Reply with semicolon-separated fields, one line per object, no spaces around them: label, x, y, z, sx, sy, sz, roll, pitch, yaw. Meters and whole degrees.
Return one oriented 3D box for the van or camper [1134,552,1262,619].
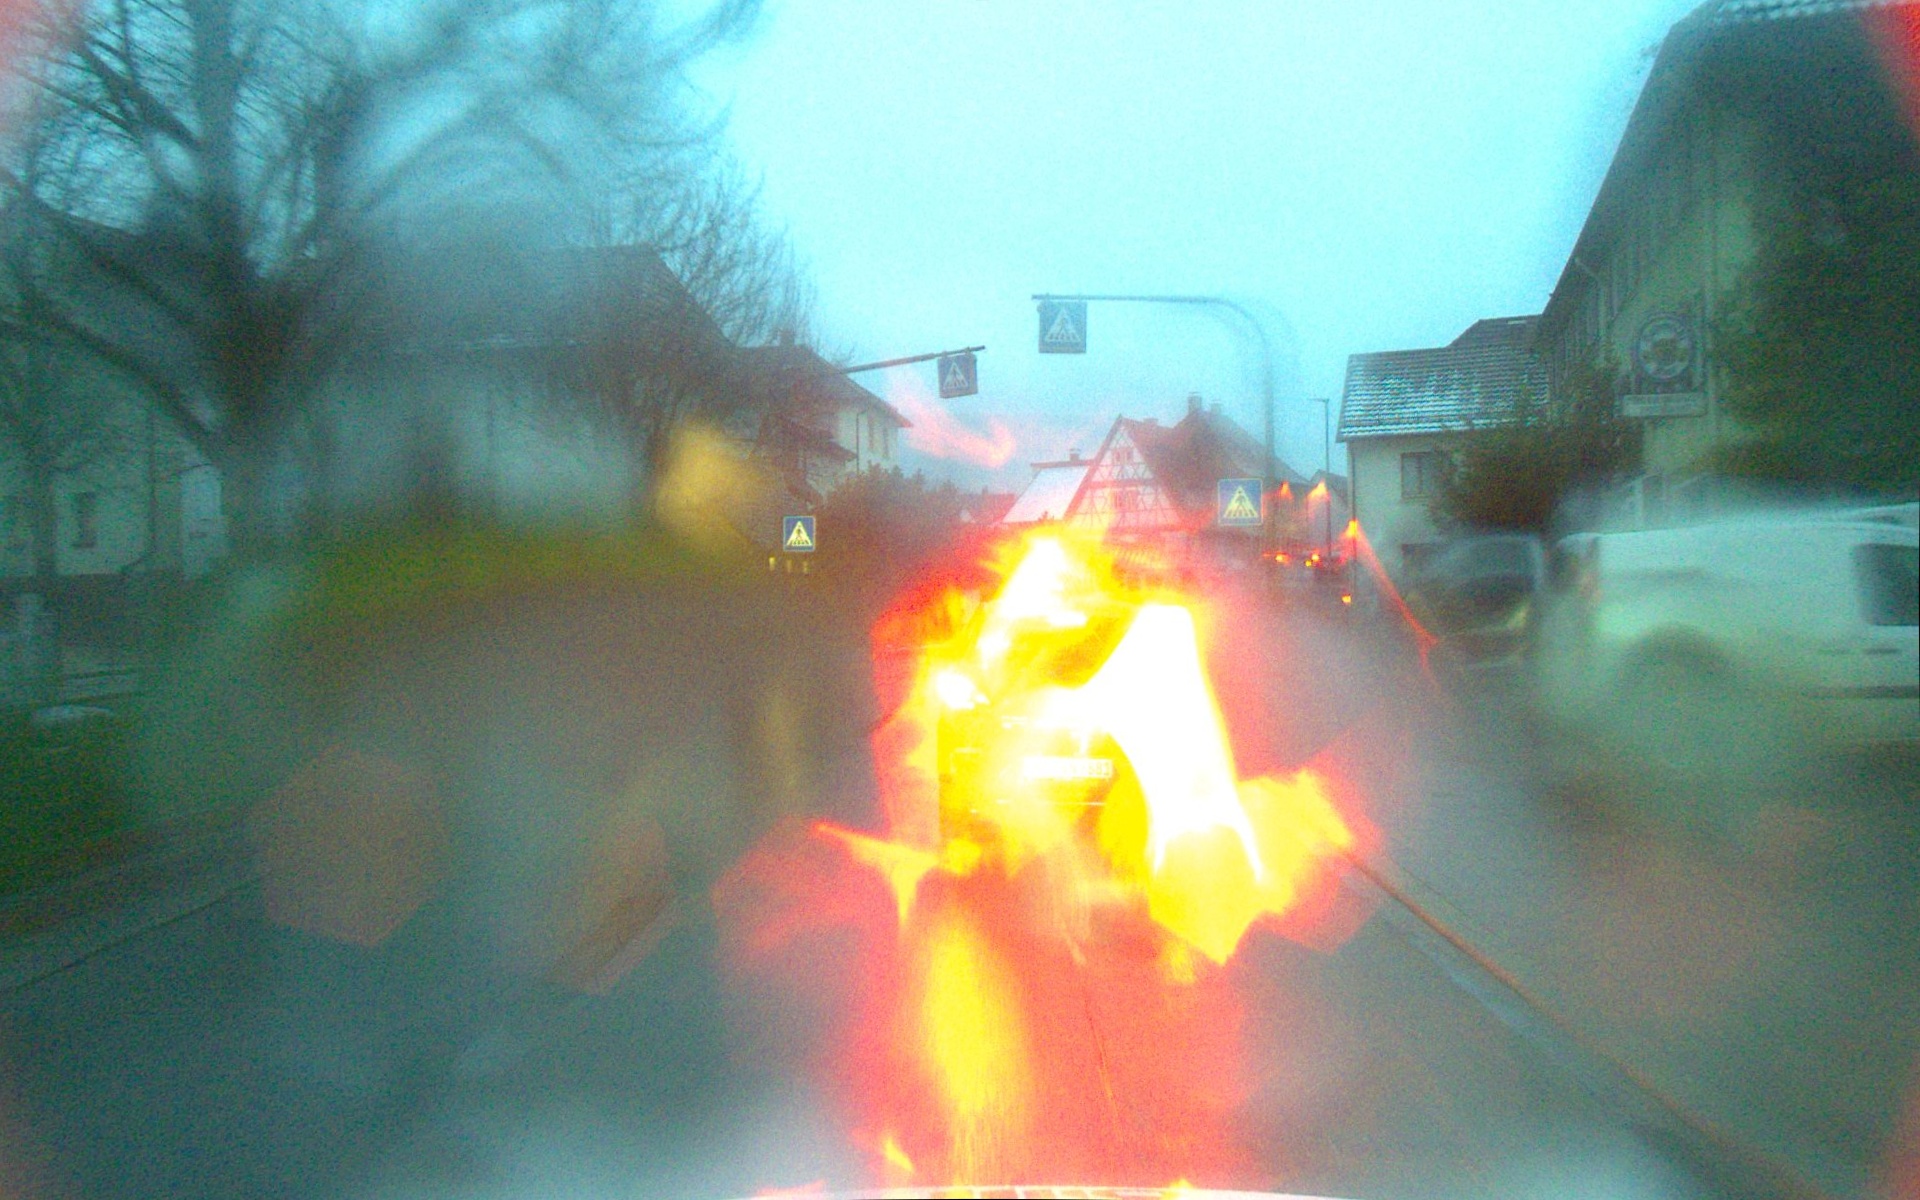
van or camper;12.255;-0.728;85.309;5.945;3.006;2.403;-4;-1;28

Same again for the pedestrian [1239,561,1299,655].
pedestrian;5.812;0.146;31.104;0.849;1.696;0.992;-4;-1;20

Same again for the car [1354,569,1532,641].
car;11.136;0.114;38.303;3.817;1.500;1.752;-2;0;16

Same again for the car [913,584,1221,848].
car;0.620;0.648;11.491;1.758;1.502;4.000;0;1;0

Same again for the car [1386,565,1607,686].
car;7.248;0.341;22.554;2.704;1.500;1.428;-2;0;13

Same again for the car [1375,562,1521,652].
car;9.312;0.122;31.738;2.527;1.574;1.553;-2;0;12

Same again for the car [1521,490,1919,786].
car;6.294;0.218;11.841;3.956;1.875;1.865;-3;0;8

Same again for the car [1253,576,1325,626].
car;11.515;0.009;57.714;1.809;1.665;4.337;0;0;20

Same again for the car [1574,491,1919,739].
car;8.054;0.060;14.244;4.874;1.922;1.939;-3;0;12

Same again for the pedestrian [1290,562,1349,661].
pedestrian;6.672;0.208;30.692;0.831;1.763;0.972;-4;-1;20

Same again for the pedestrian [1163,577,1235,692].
pedestrian;3.870;0.545;26.735;0.861;1.765;0.956;-4;-1;20
